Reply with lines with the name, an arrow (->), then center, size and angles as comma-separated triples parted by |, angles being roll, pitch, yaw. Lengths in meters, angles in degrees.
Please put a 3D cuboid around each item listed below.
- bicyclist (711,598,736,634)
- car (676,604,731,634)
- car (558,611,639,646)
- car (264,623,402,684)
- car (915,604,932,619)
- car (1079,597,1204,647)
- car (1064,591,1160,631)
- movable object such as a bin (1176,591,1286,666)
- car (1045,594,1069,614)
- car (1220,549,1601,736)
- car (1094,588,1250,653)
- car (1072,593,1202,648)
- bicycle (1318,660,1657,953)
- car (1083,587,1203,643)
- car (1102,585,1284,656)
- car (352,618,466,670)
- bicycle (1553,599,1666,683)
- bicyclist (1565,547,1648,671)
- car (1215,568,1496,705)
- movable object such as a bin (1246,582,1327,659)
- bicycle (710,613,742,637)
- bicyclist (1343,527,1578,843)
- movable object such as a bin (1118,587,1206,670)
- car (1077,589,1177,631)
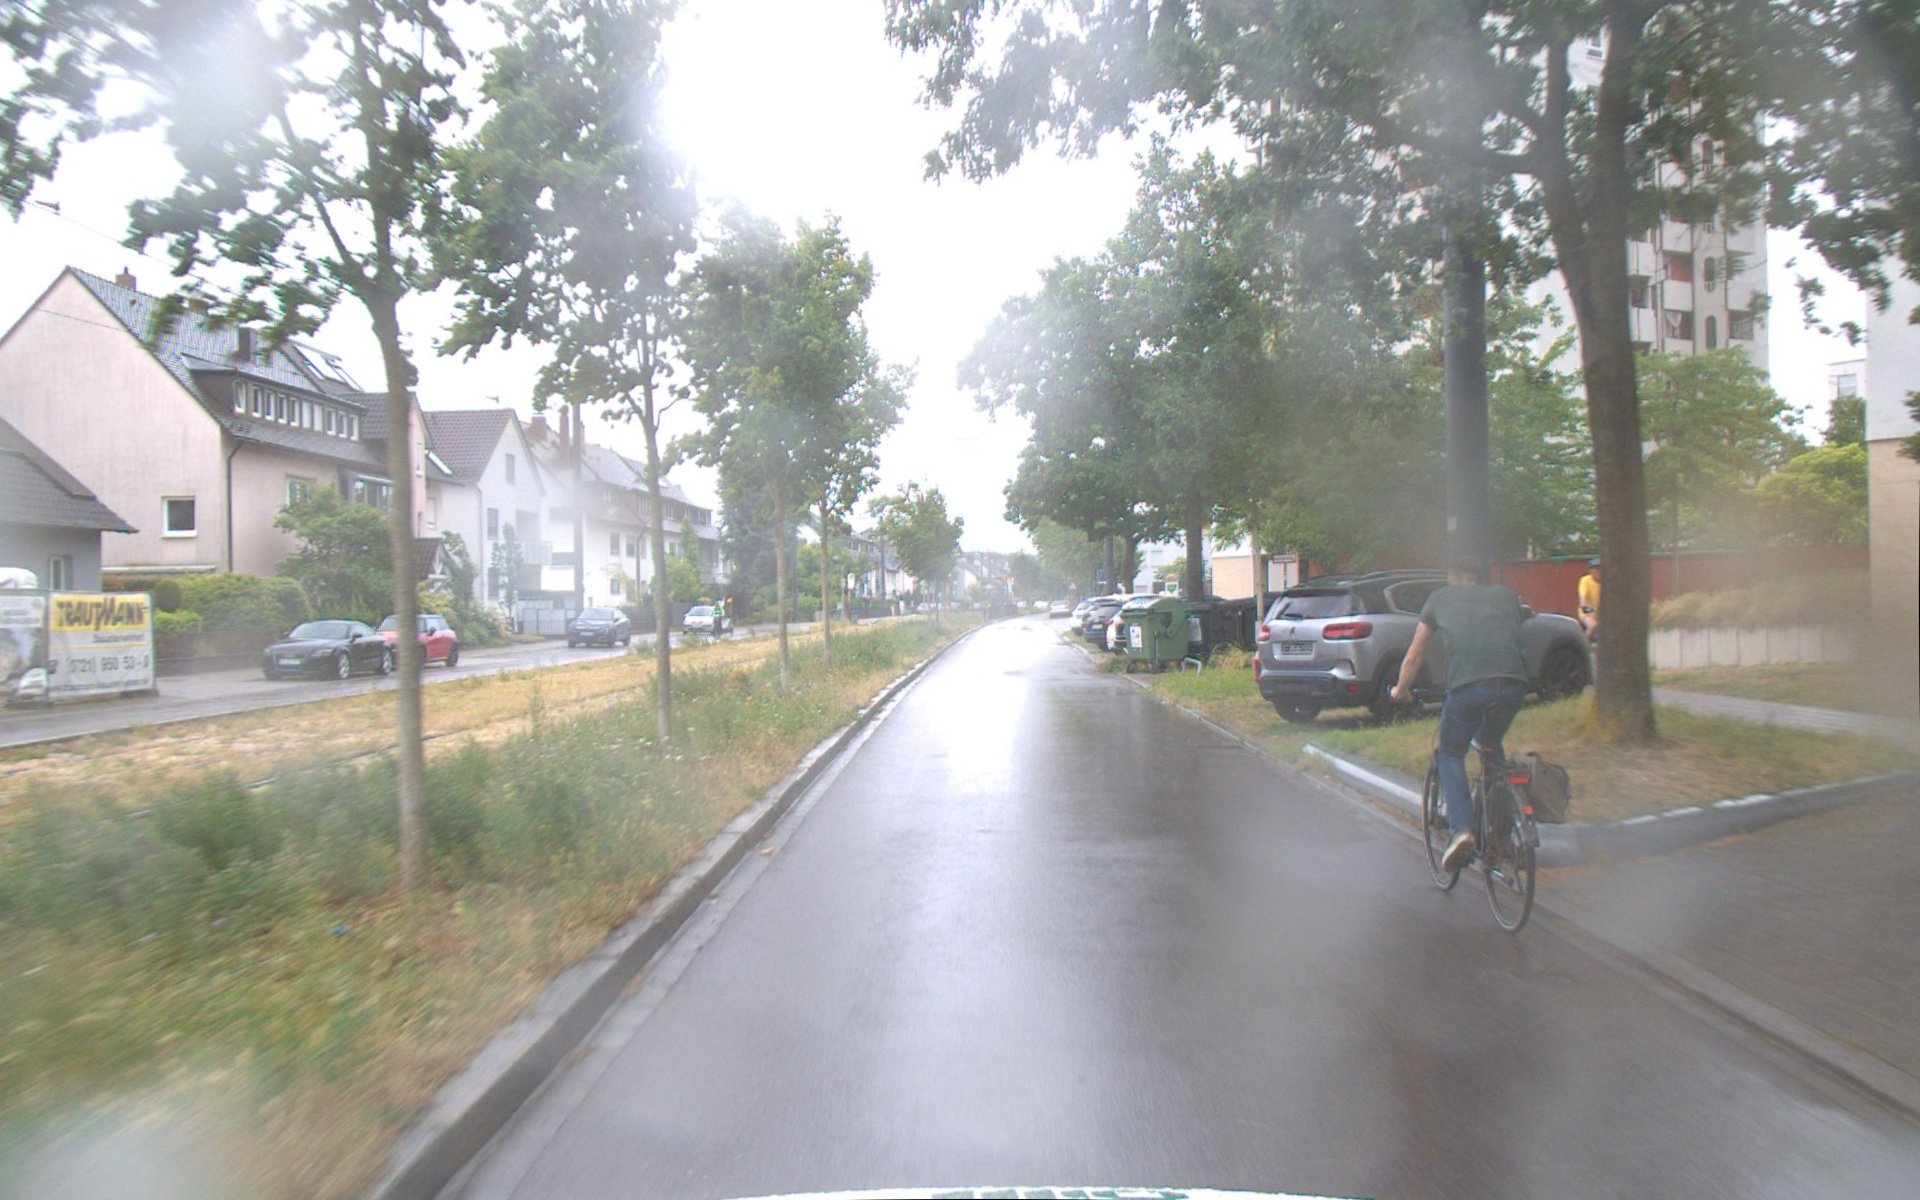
bicyclist -> -11.251, 0.758, 78.784 | 0.997, 1.715, 1.092 | -1, 0, 1
car -> -13.475, 1.001, 87.297 | 1.857, 1.495, 4.690 | 1, 0, 4
car -> -14.185, 1.113, 65.184 | 1.857, 1.266, 4.690 | 1, 0, 4
car -> -14.795, 1.234, 39.276 | 1.629, 1.266, 4.072 | 1, 0, 1
car -> -4.534, 1.407, 206.192 | 1.805, 1.701, 4.001 | -2, 0, 1
car -> 5.862, 0.680, 53.304 | 3.996, 1.468, 1.565 | -2, 0, -36
car -> 6.469, 0.464, 70.119 | 3.996, 1.539, 1.565 | -2, 0, -36
movable object such as a bin -> 5.433, 0.562, 33.228 | 1.657, 1.349, 1.393 | -4, 1, -20
car -> 8.195, 0.348, 140.210 | 1.795, 1.614, 4.001 | -2, 0, 1
car -> 5.286, 0.429, 19.311 | 4.095, 1.749, 1.979 | -4, 1, -32
car -> 5.551, 0.503, 43.091 | 3.992, 1.545, 1.567 | -2, 0, -34
car -> 5.248, 0.595, 48.730 | 4.008, 1.468, 1.560 | -2, 0, -43
bicycle -> 2.504, 0.918, 8.254 | 0.793, 1.116, 2.516 | -2, 0, -2
car -> 6.172, 0.496, 55.615 | 3.996, 1.733, 1.565 | -2, 0, -36
car -> 5.634, 0.467, 39.861 | 4.176, 1.545, 1.856 | -2, 0, -34
car -> -14.749, 1.147, 44.463 | 1.640, 1.266, 3.856 | 1, 0, 2
bicycle -> 8.815, 0.532, 22.537 | 0.719, 1.075, 2.051 | -2, 0, 1
bicyclist -> 8.806, 0.120, 22.556 | 0.719, 1.621, 0.944 | -2, 0, 0
car -> 5.597, 0.467, 23.244 | 3.844, 1.594, 1.711 | -4, 1, -36
movable object such as a bin -> 6.876, 0.434, 34.831 | 1.229, 1.546, 1.079 | -2, 0, -27
bicycle -> -11.248, 1.194, 79.514 | 0.997, 1.045, 3.197 | -2, 0, 1
bicyclist -> 2.477, 0.398, 8.306 | 0.793, 1.458, 1.060 | -2, 0, -2
movable object such as a bin -> 4.012, 0.563, 32.946 | 1.109, 1.482, 1.393 | -7, 2, -20
car -> 6.806, 0.406, 67.189 | 3.996, 1.567, 1.565 | -2, 0, -36
